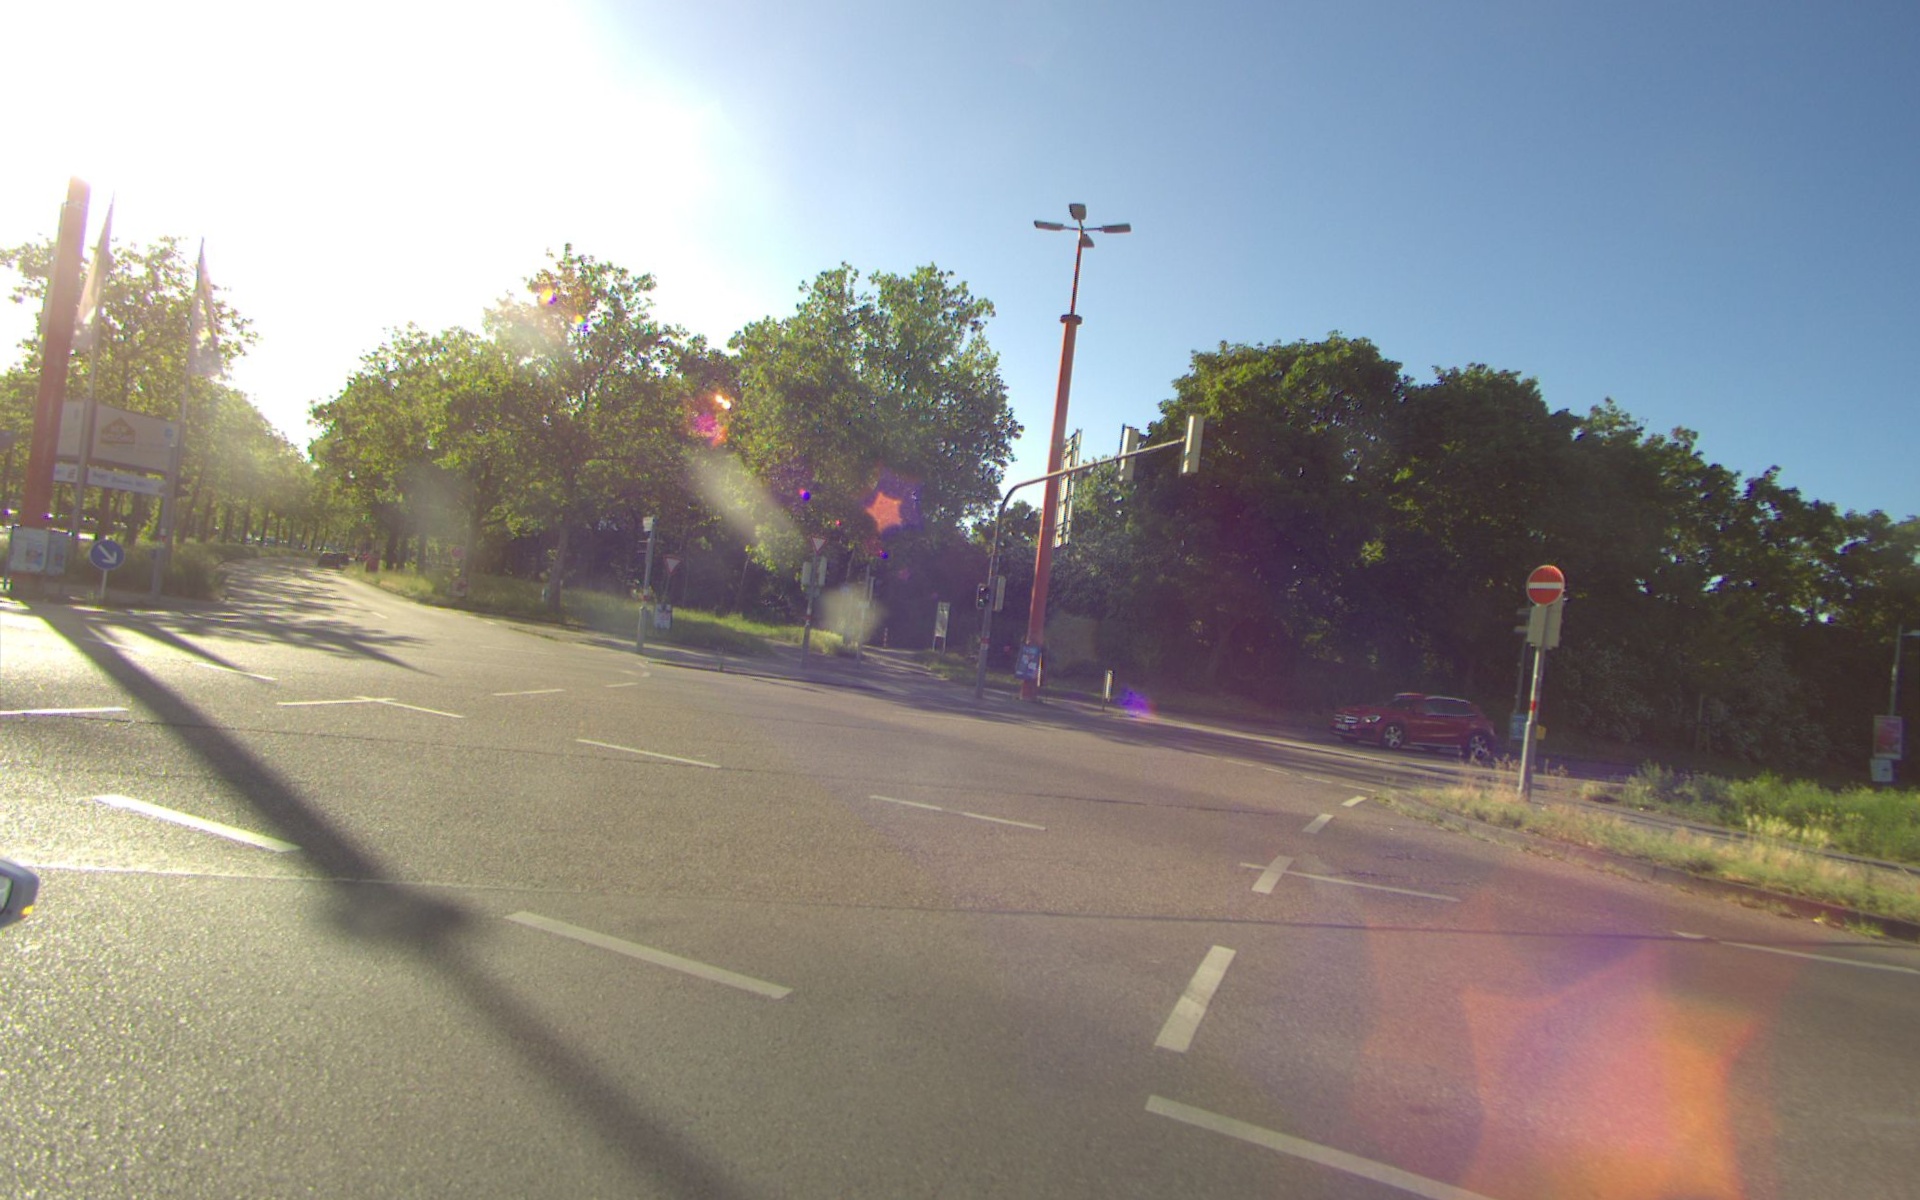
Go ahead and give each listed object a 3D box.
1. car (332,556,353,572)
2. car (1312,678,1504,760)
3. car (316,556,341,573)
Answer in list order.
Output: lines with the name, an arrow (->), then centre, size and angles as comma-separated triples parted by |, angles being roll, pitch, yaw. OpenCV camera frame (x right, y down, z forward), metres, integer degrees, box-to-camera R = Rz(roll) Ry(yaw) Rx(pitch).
car -> -77.350, -4.530, 126.115 | 1.859, 1.644, 3.973 | 9, -4, -29
car -> 11.694, 3.100, 26.351 | 4.225, 1.512, 1.994 | 8, -2, -17
car -> -61.247, -3.455, 97.594 | 1.778, 1.403, 4.018 | 9, -3, -31
